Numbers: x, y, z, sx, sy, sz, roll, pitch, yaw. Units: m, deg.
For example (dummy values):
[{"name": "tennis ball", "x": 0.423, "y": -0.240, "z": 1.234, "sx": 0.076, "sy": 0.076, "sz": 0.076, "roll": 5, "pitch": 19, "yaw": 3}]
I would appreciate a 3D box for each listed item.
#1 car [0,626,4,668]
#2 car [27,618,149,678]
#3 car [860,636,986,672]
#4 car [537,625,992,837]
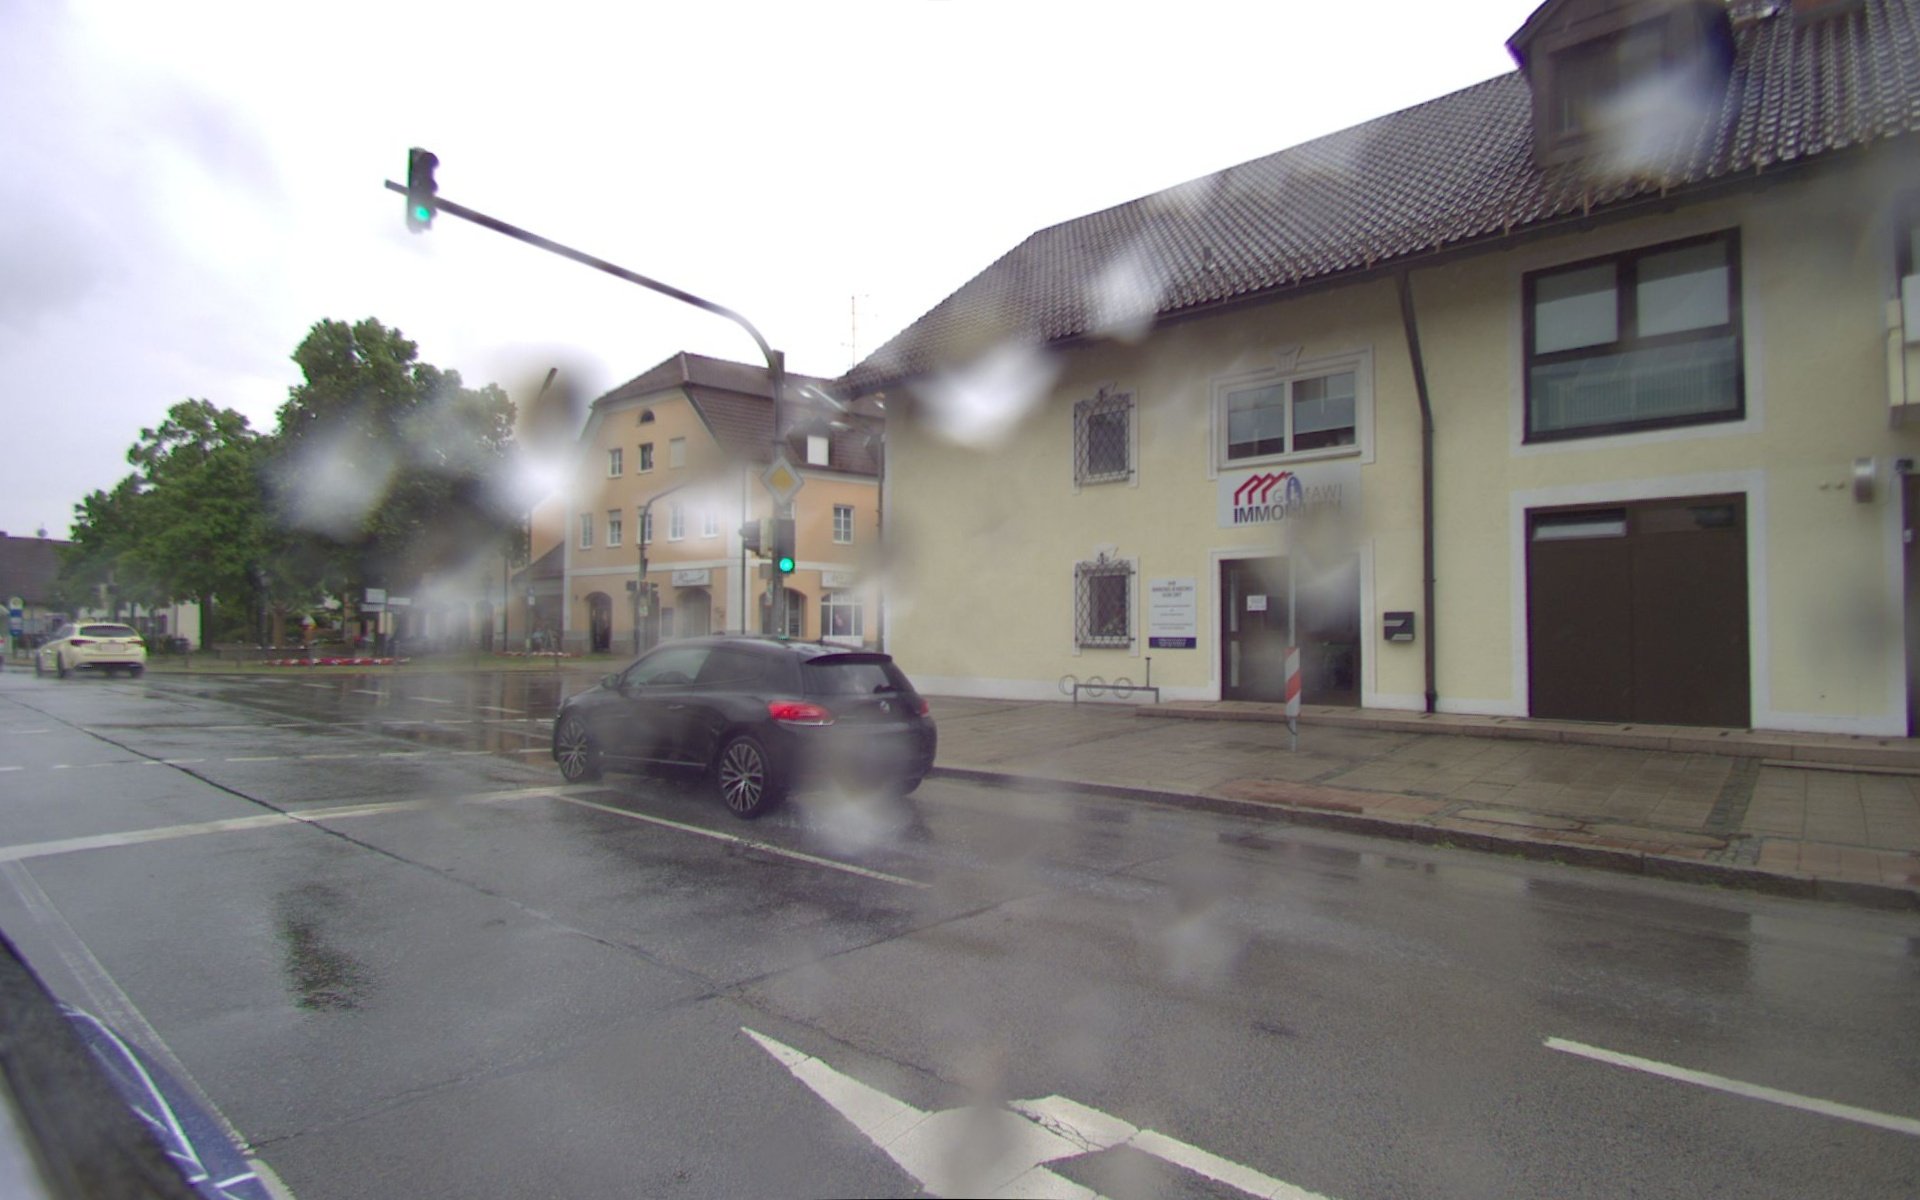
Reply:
[{"name": "car", "x": -38.236, "y": 1.756, "z": 38.723, "sx": 4.122, "sy": 1.578, "sz": 1.907, "roll": -1, "pitch": -3, "yaw": 40}, {"name": "car", "x": -23.702, "y": 1.274, "z": 27.478, "sx": 4.225, "sy": 1.523, "sz": 1.735, "roll": -1, "pitch": -3, "yaw": 39}, {"name": "car", "x": -1.295, "y": 1.903, "z": 36.198, "sx": 4.288, "sy": 1.194, "sz": 1.694, "roll": 2, "pitch": -2, "yaw": -35}, {"name": "car", "x": -1.832, "y": 0.957, "z": 8.881, "sx": 3.882, "sy": 1.418, "sz": 1.975, "roll": -1, "pitch": -3, "yaw": 42}]
